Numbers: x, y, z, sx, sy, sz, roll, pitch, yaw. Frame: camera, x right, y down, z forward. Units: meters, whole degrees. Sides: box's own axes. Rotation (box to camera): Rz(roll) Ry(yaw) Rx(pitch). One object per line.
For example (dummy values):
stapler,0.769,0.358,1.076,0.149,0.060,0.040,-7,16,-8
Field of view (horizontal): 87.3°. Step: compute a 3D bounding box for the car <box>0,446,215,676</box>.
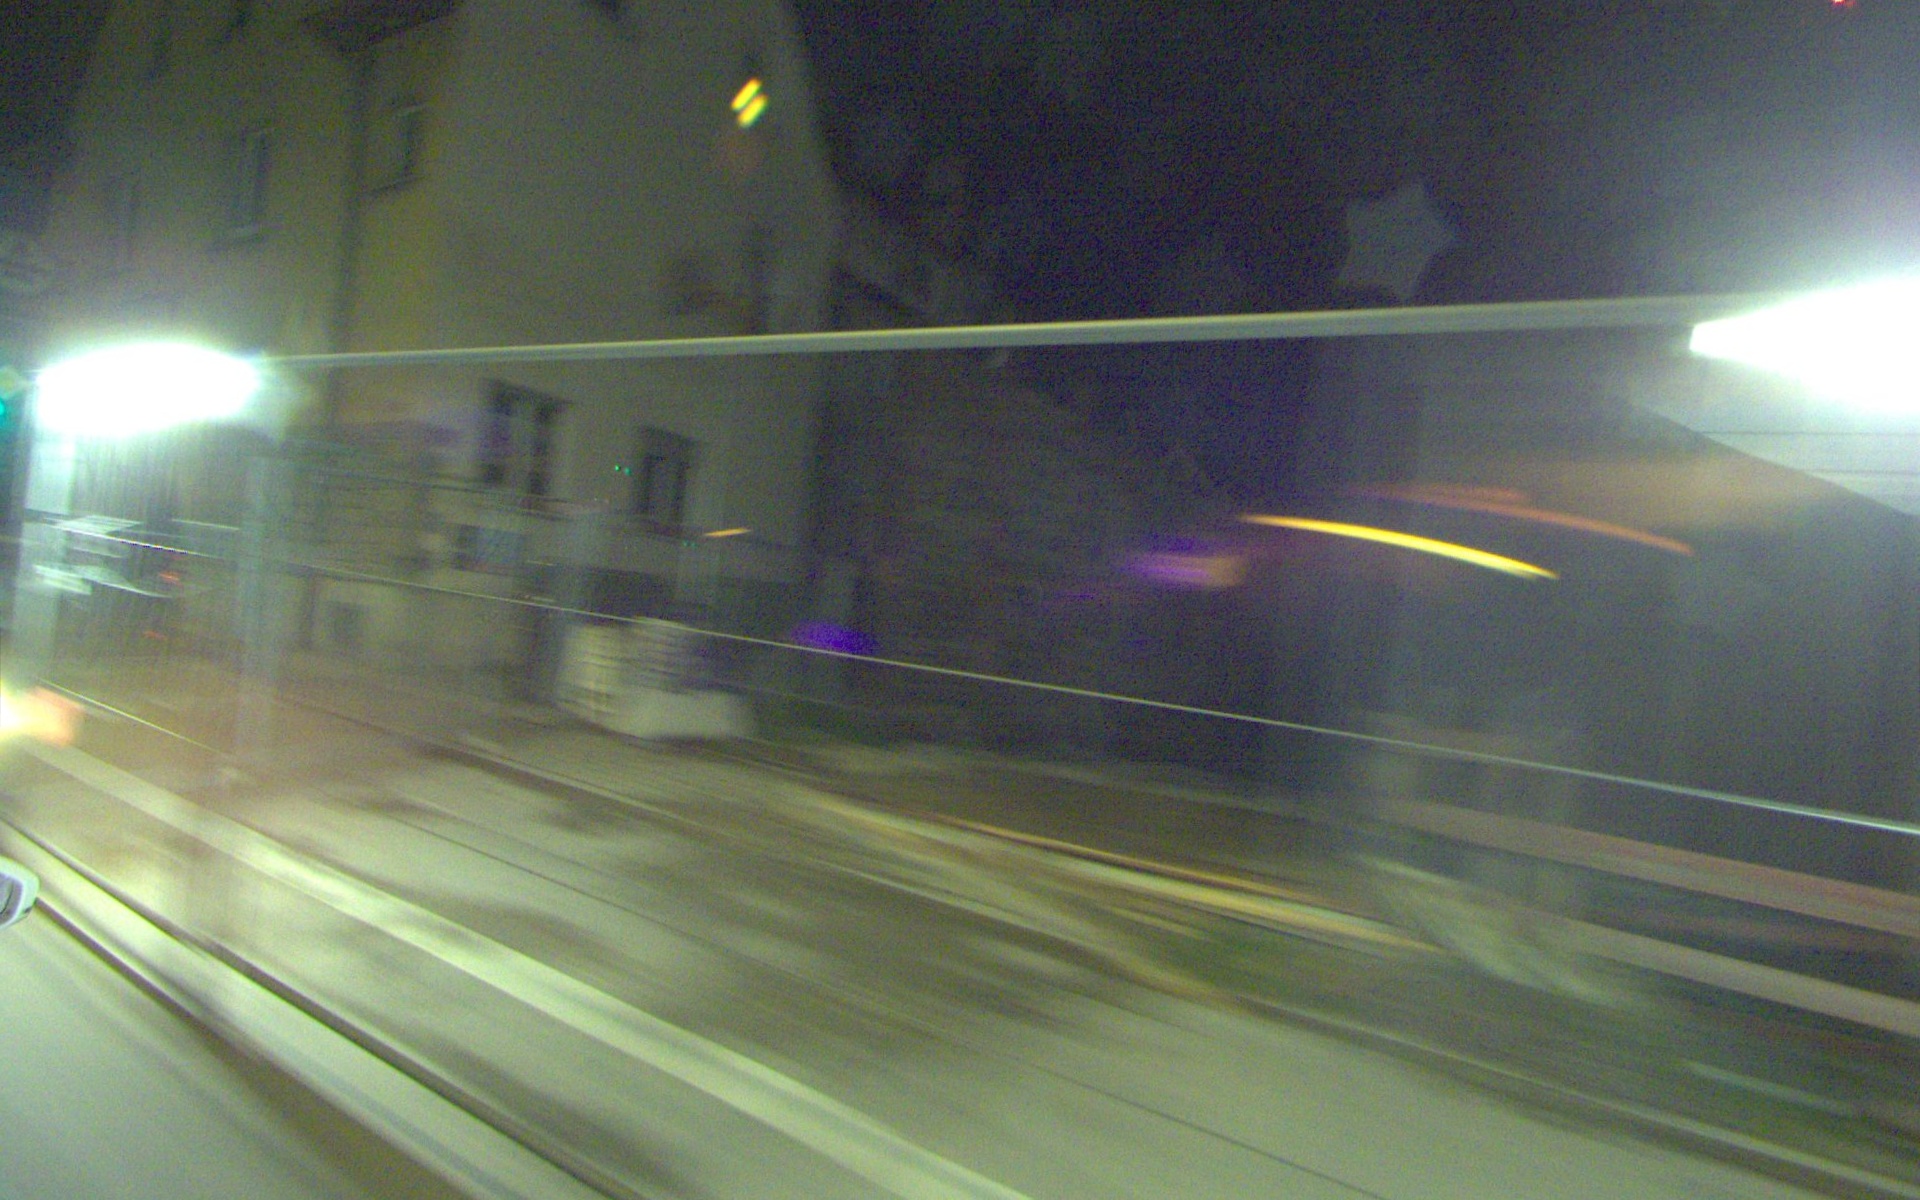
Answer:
car,-9.674,-0.526,9.809,4.816,1.849,1.915,7,-1,29
